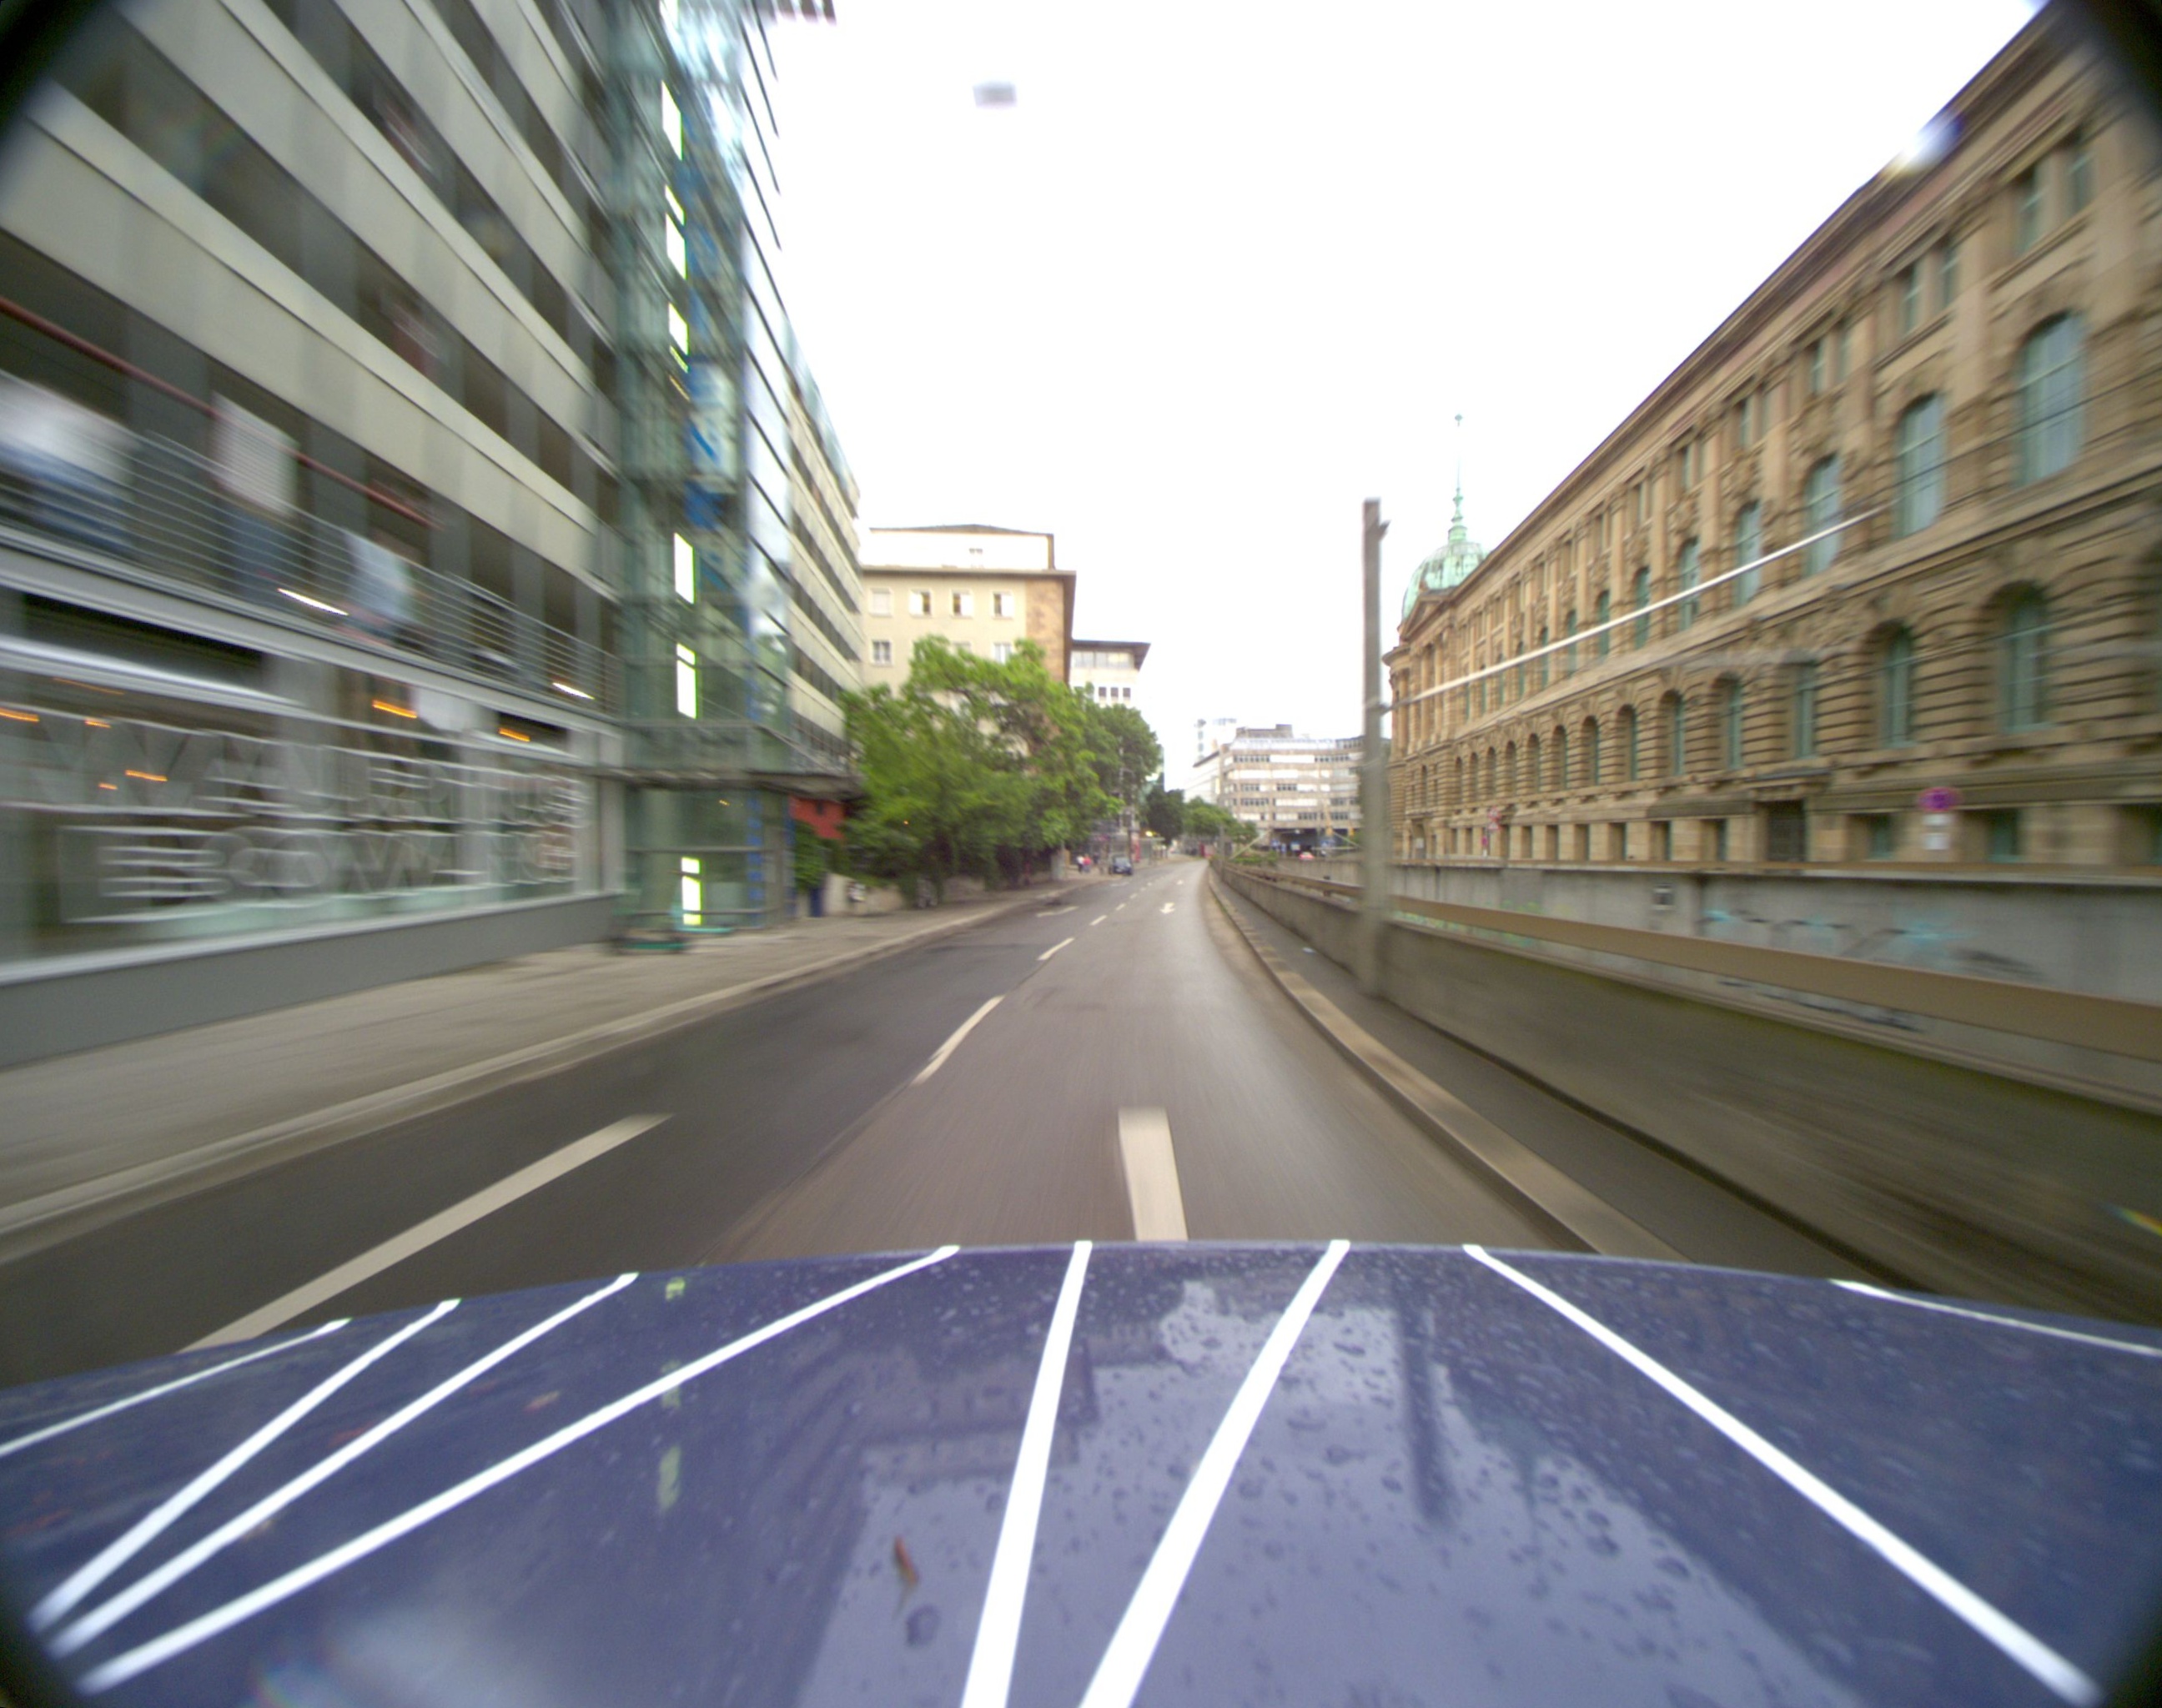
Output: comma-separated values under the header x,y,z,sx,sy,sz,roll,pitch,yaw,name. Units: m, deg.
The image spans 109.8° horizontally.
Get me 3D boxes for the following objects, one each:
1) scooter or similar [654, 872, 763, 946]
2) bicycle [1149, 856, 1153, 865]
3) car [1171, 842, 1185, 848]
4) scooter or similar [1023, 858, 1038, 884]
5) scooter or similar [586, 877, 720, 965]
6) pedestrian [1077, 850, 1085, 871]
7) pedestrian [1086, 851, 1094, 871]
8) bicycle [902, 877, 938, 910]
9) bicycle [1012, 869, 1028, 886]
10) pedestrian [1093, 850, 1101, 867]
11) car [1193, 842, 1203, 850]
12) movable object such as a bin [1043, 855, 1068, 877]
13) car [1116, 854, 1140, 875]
x,y,z,sx,sy,sz,roll,pitch,yaw,name
-6.667,0.971,13.679,1.641,1.260,0.742,1,0,-16,scooter or similar
8.631,0.807,93.403,0.490,1.006,1.928,-1,1,7,bicycle
28.093,-2.688,219.846,3.773,1.641,1.797,2,1,-15,car
-2.529,0.821,37.911,0.448,1.252,1.212,1,1,9,scooter or similar
-6.482,0.992,11.591,1.641,1.260,0.742,1,0,-16,scooter or similar
-0.001,0.511,57.990,0.525,1.593,0.674,0,2,4,pedestrian
0.708,0.519,58.649,0.526,1.484,0.673,-1,2,-2,pedestrian
-4.785,1.171,22.694,0.471,0.880,1.691,0,1,9,bicycle
-2.884,1.100,35.966,0.501,0.750,1.212,2,1,9,bicycle
1.672,0.436,77.734,0.781,1.762,0.862,0,1,1,pedestrian
28.358,-1.963,184.259,1.998,2.068,4.001,-1,1,5,car
-1.579,0.715,47.236,1.241,1.303,1.234,2,1,10,movable object such as a bin
4.014,0.895,64.271,1.771,1.610,4.159,-1,1,7,car
